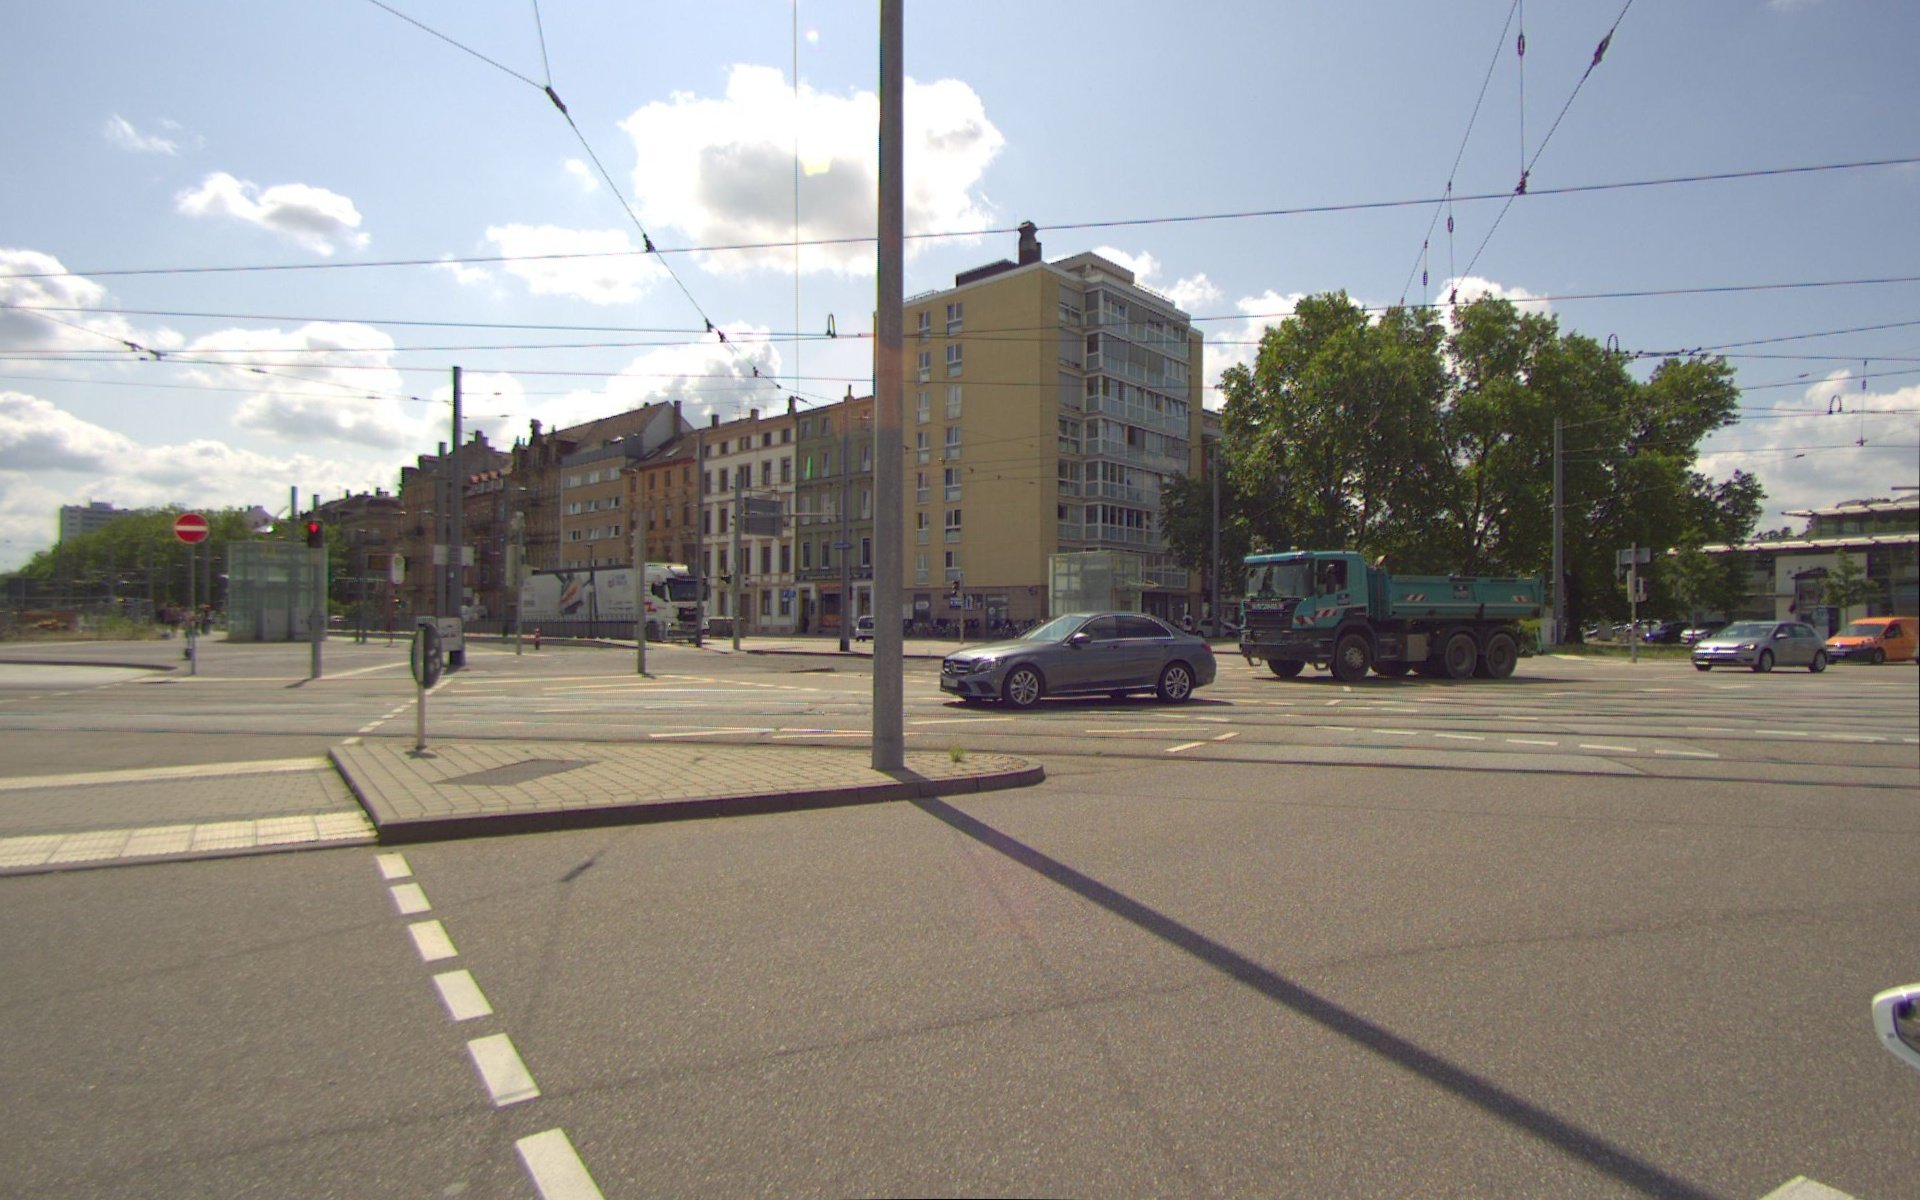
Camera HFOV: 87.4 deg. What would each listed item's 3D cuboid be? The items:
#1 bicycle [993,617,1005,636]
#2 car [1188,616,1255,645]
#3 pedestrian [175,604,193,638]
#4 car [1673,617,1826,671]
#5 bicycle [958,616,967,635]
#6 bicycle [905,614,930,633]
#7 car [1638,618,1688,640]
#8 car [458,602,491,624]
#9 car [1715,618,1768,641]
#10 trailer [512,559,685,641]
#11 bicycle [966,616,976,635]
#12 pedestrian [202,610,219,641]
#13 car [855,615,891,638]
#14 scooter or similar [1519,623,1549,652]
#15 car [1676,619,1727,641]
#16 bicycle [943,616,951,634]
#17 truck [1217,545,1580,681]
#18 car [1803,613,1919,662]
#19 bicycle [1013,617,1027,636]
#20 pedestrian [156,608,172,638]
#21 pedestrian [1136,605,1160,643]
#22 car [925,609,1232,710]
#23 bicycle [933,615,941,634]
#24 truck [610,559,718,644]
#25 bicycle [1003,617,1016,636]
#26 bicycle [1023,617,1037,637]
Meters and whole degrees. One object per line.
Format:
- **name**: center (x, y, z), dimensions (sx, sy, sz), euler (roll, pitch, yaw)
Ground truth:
- **bicycle**: center (2.435, 1.630, 62.628), dimensions (0.502, 1.162, 2.133), euler (2, -1, -4)
- **car**: center (18.267, 2.117, 70.251), dimensions (4.053, 1.883, 1.973), euler (1, -1, 43)
- **pedestrian**: center (-41.991, 1.144, 54.354), dimensions (0.610, 1.816, 0.525), euler (2, 0, -25)
- **car**: center (22.670, 1.228, 28.844), dimensions (4.210, 1.453, 1.650), euler (1, -1, -23)
- **bicycle**: center (0.154, 1.627, 64.840), dimensions (0.501, 1.162, 2.134), euler (2, -1, -1)
- **bicycle**: center (-2.897, 1.594, 68.131), dimensions (0.523, 1.162, 1.922), euler (2, -1, -42)
- **car**: center (56.494, 2.308, 80.730), dimensions (4.136, 1.595, 1.981), euler (3, -1, -35)
- **car**: center (-56.677, 1.510, 117.256), dimensions (4.059, 2.374, 1.990), euler (2, -1, 41)
- **car**: center (59.206, 2.216, 76.080), dimensions (4.136, 1.595, 1.981), euler (3, -1, -35)
- **trailer**: center (-20.211, -0.082, 55.277), dimensions (13.841, 4.022, 2.694), euler (1, -1, 42)
- **bicycle**: center (0.703, 1.624, 64.593), dimensions (0.501, 1.162, 2.134), euler (2, -1, -1)
- **pedestrian**: center (-43.614, 1.490, 58.452), dimensions (0.610, 1.816, 0.525), euler (2, 0, -25)
- **car**: center (-5.065, 1.531, 58.915), dimensions (1.625, 1.338, 3.358), euler (0, -1, 4)
- **scooter or similar**: center (23.759, 1.558, 41.597), dimensions (1.076, 1.130, 0.378), euler (2, 0, -13)
- **car**: center (57.987, 2.337, 78.541), dimensions (4.136, 1.595, 1.981), euler (3, -1, -35)
- **bicycle**: center (-0.858, 1.628, 65.811), dimensions (0.501, 1.162, 2.134), euler (2, -1, -1)
- **truck**: center (10.713, 0.347, 24.410), dimensions (8.663, 2.890, 2.880), euler (1, -1, -22)
- **car**: center (35.020, 1.449, 38.719), dimensions (4.666, 1.824, 1.716), euler (1, -2, -19)
- **bicycle**: center (3.701, 1.624, 62.070), dimensions (0.523, 1.162, 2.134), euler (2, -1, -4)
- **pedestrian**: center (-47.431, 1.368, 59.863), dimensions (0.610, 1.816, 0.525), euler (2, 0, -25)
- **pedestrian**: center (8.599, 1.091, 45.939), dimensions (0.848, 1.654, 1.025), euler (2, 0, 22)
- **car**: center (1.916, 0.872, 15.857), dimensions (4.713, 1.410, 1.647), euler (1, -1, -27)
- **bicycle**: center (-1.508, 1.613, 66.209), dimensions (0.501, 1.162, 2.134), euler (2, -1, -1)
- **truck**: center (-14.890, 0.054, 50.427), dimensions (5.371, 4.022, 2.694), euler (2, -1, 42)
- **bicycle**: center (3.044, 1.631, 62.395), dimensions (0.502, 1.162, 2.133), euler (2, -1, -4)
- **bicycle**: center (4.321, 1.636, 61.901), dimensions (0.502, 1.162, 2.133), euler (2, -1, -4)
